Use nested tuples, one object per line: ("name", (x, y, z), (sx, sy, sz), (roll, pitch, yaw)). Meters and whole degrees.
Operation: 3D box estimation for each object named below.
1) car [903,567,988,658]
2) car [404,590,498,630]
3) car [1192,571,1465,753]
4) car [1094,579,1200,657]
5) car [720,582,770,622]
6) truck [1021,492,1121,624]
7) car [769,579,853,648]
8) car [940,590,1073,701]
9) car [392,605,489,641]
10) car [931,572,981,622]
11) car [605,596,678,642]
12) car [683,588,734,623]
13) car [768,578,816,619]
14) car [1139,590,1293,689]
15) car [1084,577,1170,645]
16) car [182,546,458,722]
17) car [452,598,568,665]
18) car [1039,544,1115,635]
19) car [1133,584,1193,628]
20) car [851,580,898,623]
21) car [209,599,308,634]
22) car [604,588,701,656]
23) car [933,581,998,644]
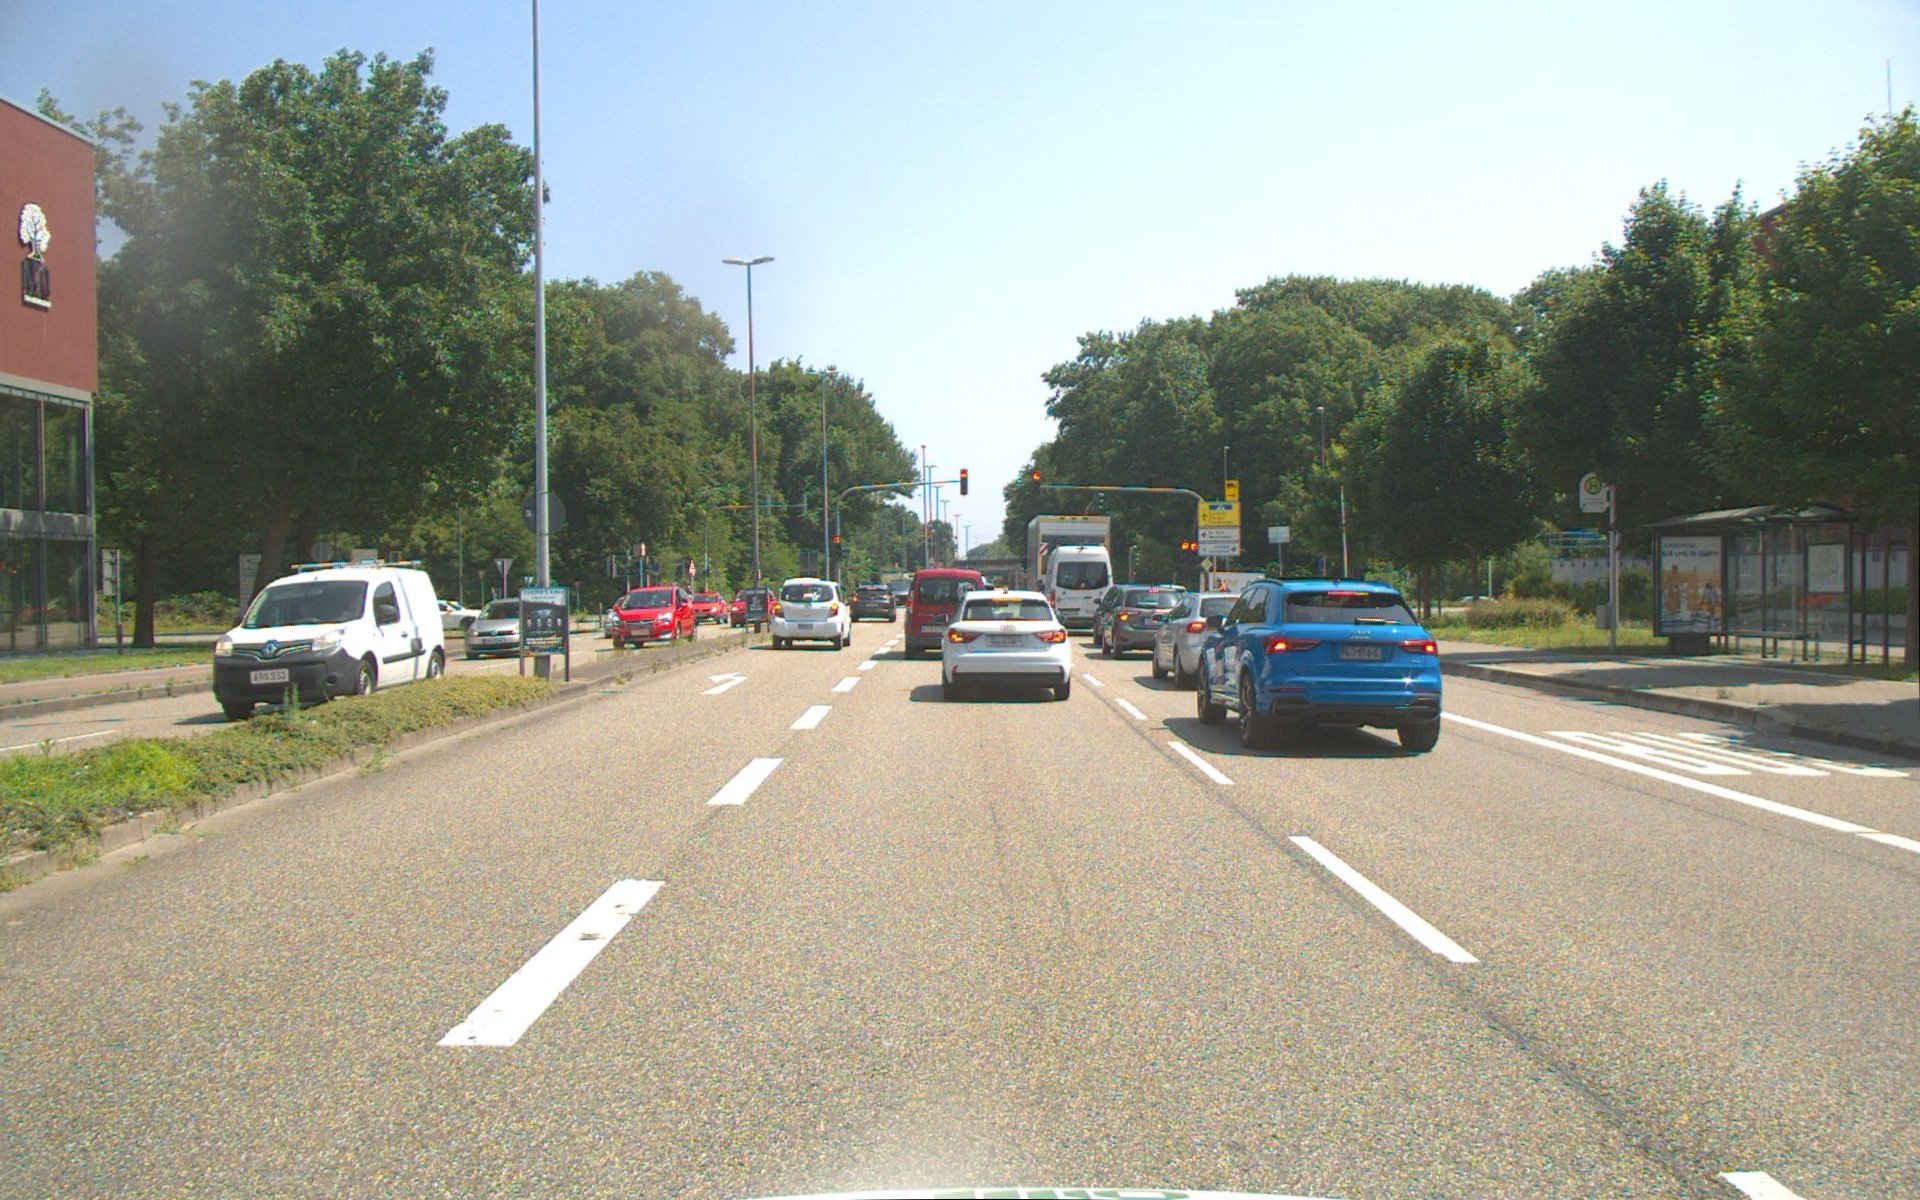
("car", (-0.326, 0.229, 34.543), (1.677, 1.779, 4.091), (0, 0, -1))
("car", (-26.317, 0.534, 85.560), (4.290, 1.710, 1.807), (-5, 0, -8))
("car", (3.616, 0.536, 17.035), (1.800, 1.623, 4.400), (0, 1, -1))
("car", (3.966, 0.355, 35.594), (1.677, 1.504, 4.091), (3, 0, -1))
("car", (-8.522, 0.072, 65.712), (1.548, 1.466, 3.608), (-3, 1, -1))
("truck", (4.032, -1.488, 62.674), (3.025, 4.511, 11.580), (1, 0, 0))
("car", (-3.444, 0.289, 38.795), (1.677, 1.519, 4.091), (0, 0, -1))
("car", (0.573, 0.570, 23.188), (1.677, 1.410, 4.091), (0, 0, -1))
("car", (-25.679, 1.138, 81.797), (4.288, 1.711, 1.807), (1, 0, -8))
("car", (-0.173, -0.113, 57.657), (1.677, 1.660, 4.091), (0, 0, -1))
("car", (-11.284, 0.637, 58.905), (1.741, 1.428, 4.359), (-4, 1, -1))
("car", (-11.613, 0.233, 76.578), (1.671, 1.477, 3.891), (-4, 1, 0))
("car", (-8.707, -0.088, 85.919), (1.953, 1.979, 4.907), (-3, 1, -1))
("car", (3.921, 0.564, 25.894), (1.677, 1.386, 4.091), (1, 0, -1))
("car", (4.167, 0.251, 41.681), (1.677, 1.621, 4.091), (0, 0, -1))
("car", (-8.147, 0.366, 21.549), (1.814, 1.938, 4.425), (-4, 1, -1))
("car", (-11.231, 0.743, 41.568), (1.713, 1.476, 4.133), (-3, 1, 0))
("car", (3.594, -0.338, 51.570), (1.989, 2.690, 4.845), (0, 0, 0))
("car", (7.526, 0.207, 61.594), (1.677, 1.573, 4.091), (0, 0, -1))
("car", (-3.368, 0.056, 65.976), (1.738, 1.670, 4.036), (0, 0, -1))
("car", (-35.741, 0.862, 84.348), (4.292, 1.711, 1.806), (1, -1, -11))
("car", (-8.107, 0.547, 43.914), (1.713, 1.597, 4.153), (-3, 1, 0))
("car", (0.111, 0.302, 45.653), (1.677, 1.660, 4.091), (0, 0, -1))
